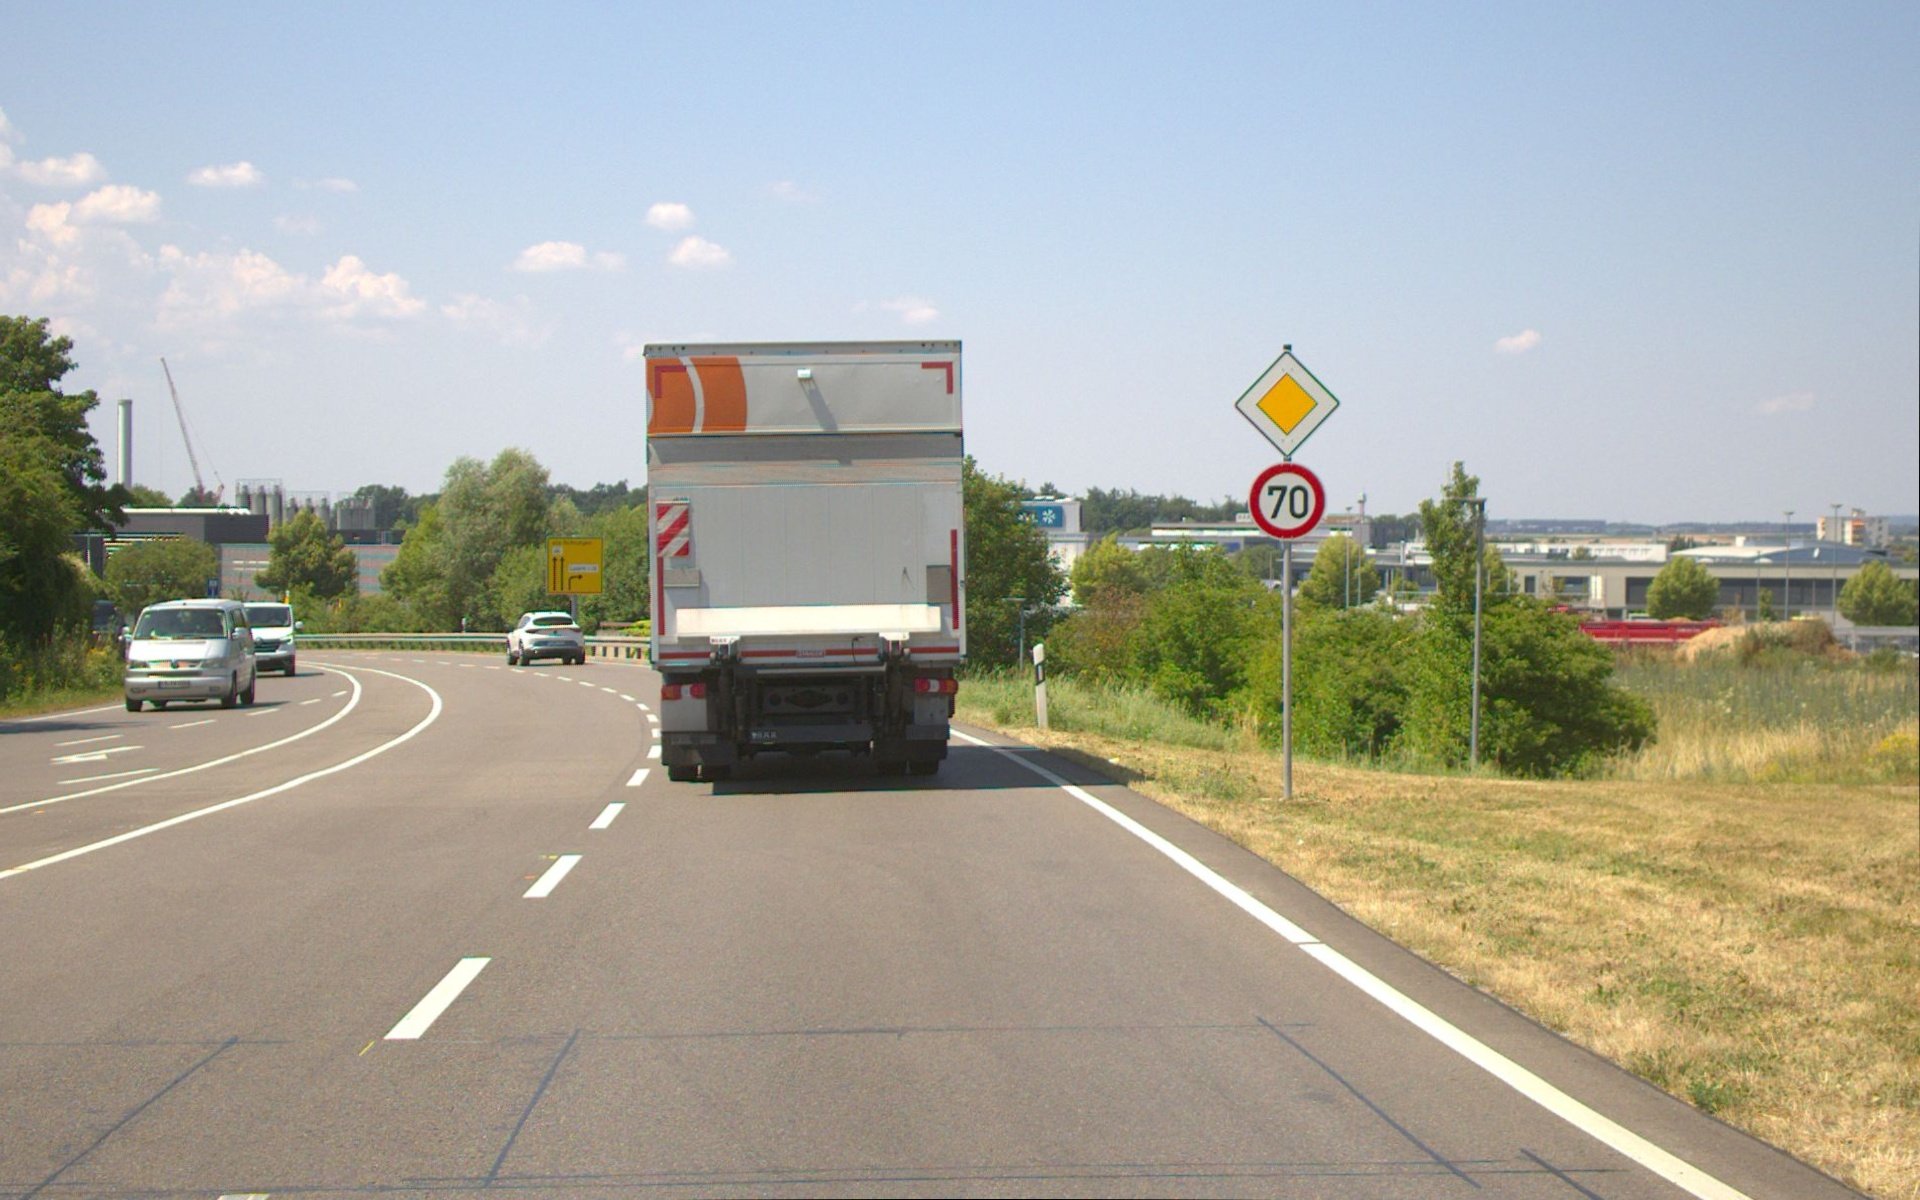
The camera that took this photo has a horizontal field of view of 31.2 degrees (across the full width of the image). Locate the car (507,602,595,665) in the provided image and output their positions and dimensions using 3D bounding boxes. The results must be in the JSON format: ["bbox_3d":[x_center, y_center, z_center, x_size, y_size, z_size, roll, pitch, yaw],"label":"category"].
[{"bbox_3d":[-11.684,0.972,98.038,1.943,1.659,4.001,2,-2,-14],"label":"car"}]

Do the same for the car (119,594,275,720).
[{"bbox_3d":[-13.454,0.966,60.887,1.973,2.007,4.841,2,1,-4],"label":"car"}]

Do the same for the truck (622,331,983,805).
[{"bbox_3d":[-1.333,-0.249,31.517,2.803,3.698,9.108,0,0,-1],"label":"truck"}]

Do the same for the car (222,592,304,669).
[{"bbox_3d":[-18.624,0.805,91.995,2.075,2.007,5.808,0,0,-11],"label":"car"}]

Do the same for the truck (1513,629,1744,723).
[{"bbox_3d":[29.409,3.304,151.358,9.401,3.672,3.127,2,1,26],"label":"truck"}]
